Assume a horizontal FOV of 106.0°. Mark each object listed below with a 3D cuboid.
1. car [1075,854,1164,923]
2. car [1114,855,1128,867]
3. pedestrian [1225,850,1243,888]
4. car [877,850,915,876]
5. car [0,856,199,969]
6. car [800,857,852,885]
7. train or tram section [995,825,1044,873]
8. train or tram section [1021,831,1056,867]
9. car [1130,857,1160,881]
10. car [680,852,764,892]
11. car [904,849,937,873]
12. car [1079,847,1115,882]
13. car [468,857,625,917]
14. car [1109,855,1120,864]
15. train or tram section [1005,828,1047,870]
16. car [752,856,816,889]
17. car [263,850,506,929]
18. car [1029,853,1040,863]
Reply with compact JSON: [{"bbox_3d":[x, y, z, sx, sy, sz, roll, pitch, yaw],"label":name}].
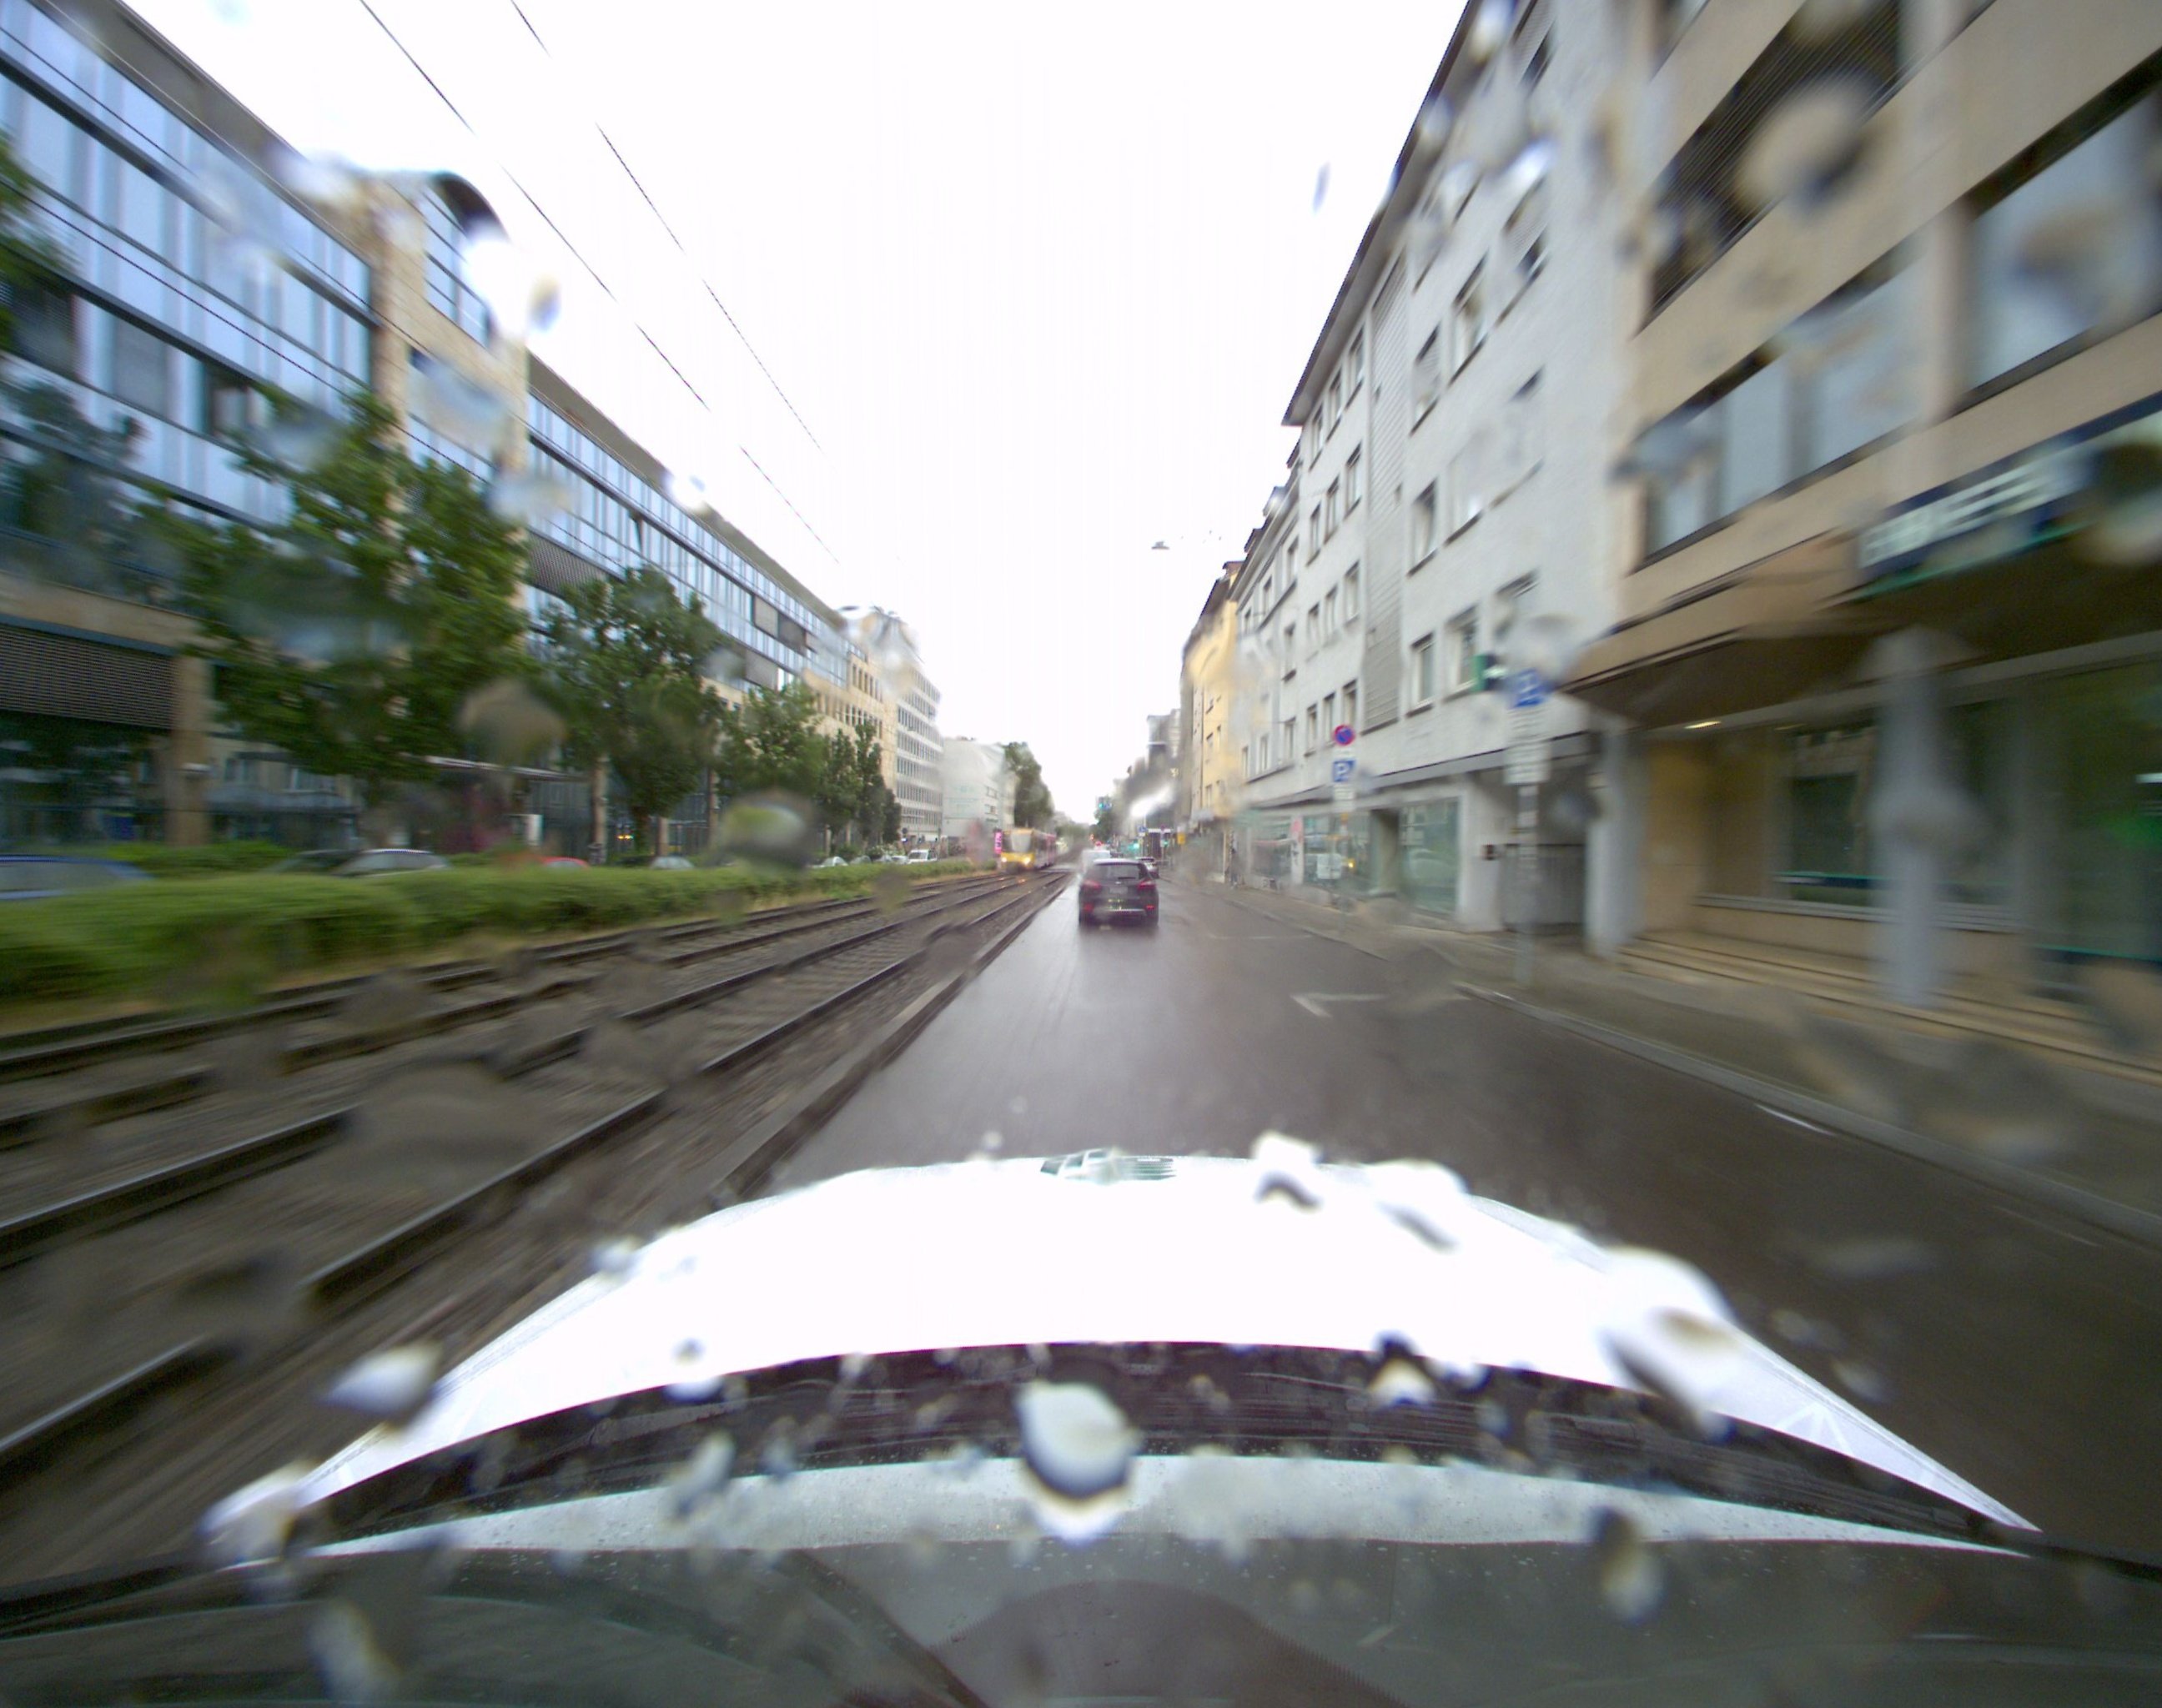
[{"bbox_3d":[0.872,0.749,19.012,1.899,1.462,3.446,0,-1,2],"label":"car"},{"bbox_3d":[5.862,1.038,119.269,1.899,1.633,4.576,0,-1,2],"label":"car"},{"bbox_3d":[6.132,0.599,32.703,0.609,1.538,0.649,0,0,0],"label":"pedestrian"},{"bbox_3d":[-13.554,0.657,59.934,1.901,1.865,4.570,0,-1,-2],"label":"car"},{"bbox_3d":[-14.463,0.742,10.560,1.564,1.436,4.174,0,0,-2],"label":"car"},{"bbox_3d":[-13.550,0.860,43.488,1.564,1.436,4.174,0,0,-2],"label":"car"},{"bbox_3d":[-5.009,-0.380,68.849,3.503,3.777,11.325,0,0,-1],"label":"train or tram section"},{"bbox_3d":[-4.699,-0.500,92.582,3.528,3.777,13.422,0,0,-1],"label":"train or tram section"},{"bbox_3d":[4.437,1.035,57.117,1.899,1.633,4.576,0,-1,2],"label":"car"},{"bbox_3d":[-13.952,0.661,31.902,1.564,1.436,4.174,0,0,-2],"label":"car"},{"bbox_3d":[-13.091,0.566,66.683,1.901,1.865,4.570,0,-1,-2],"label":"car"},{"bbox_3d":[0.952,0.587,45.977,1.899,1.865,4.577,0,-1,3],"label":"car"},{"bbox_3d":[-14.175,0.807,21.907,1.564,1.436,4.174,0,0,-2],"label":"car"},{"bbox_3d":[6.241,1.065,150.969,1.899,1.633,4.576,0,-1,2],"label":"car"},{"bbox_3d":[-5.266,-0.435,80.161,3.528,3.777,11.325,0,0,-1],"label":"train or tram section"},{"bbox_3d":[-13.761,0.815,38.008,1.564,1.436,4.174,0,0,-2],"label":"car"},{"bbox_3d":[-14.232,0.650,17.020,1.564,1.436,4.174,0,0,-2],"label":"car"},{"bbox_3d":[-9.319,0.812,162.396,1.900,1.865,4.573,0,-1,0],"label":"car"}]
